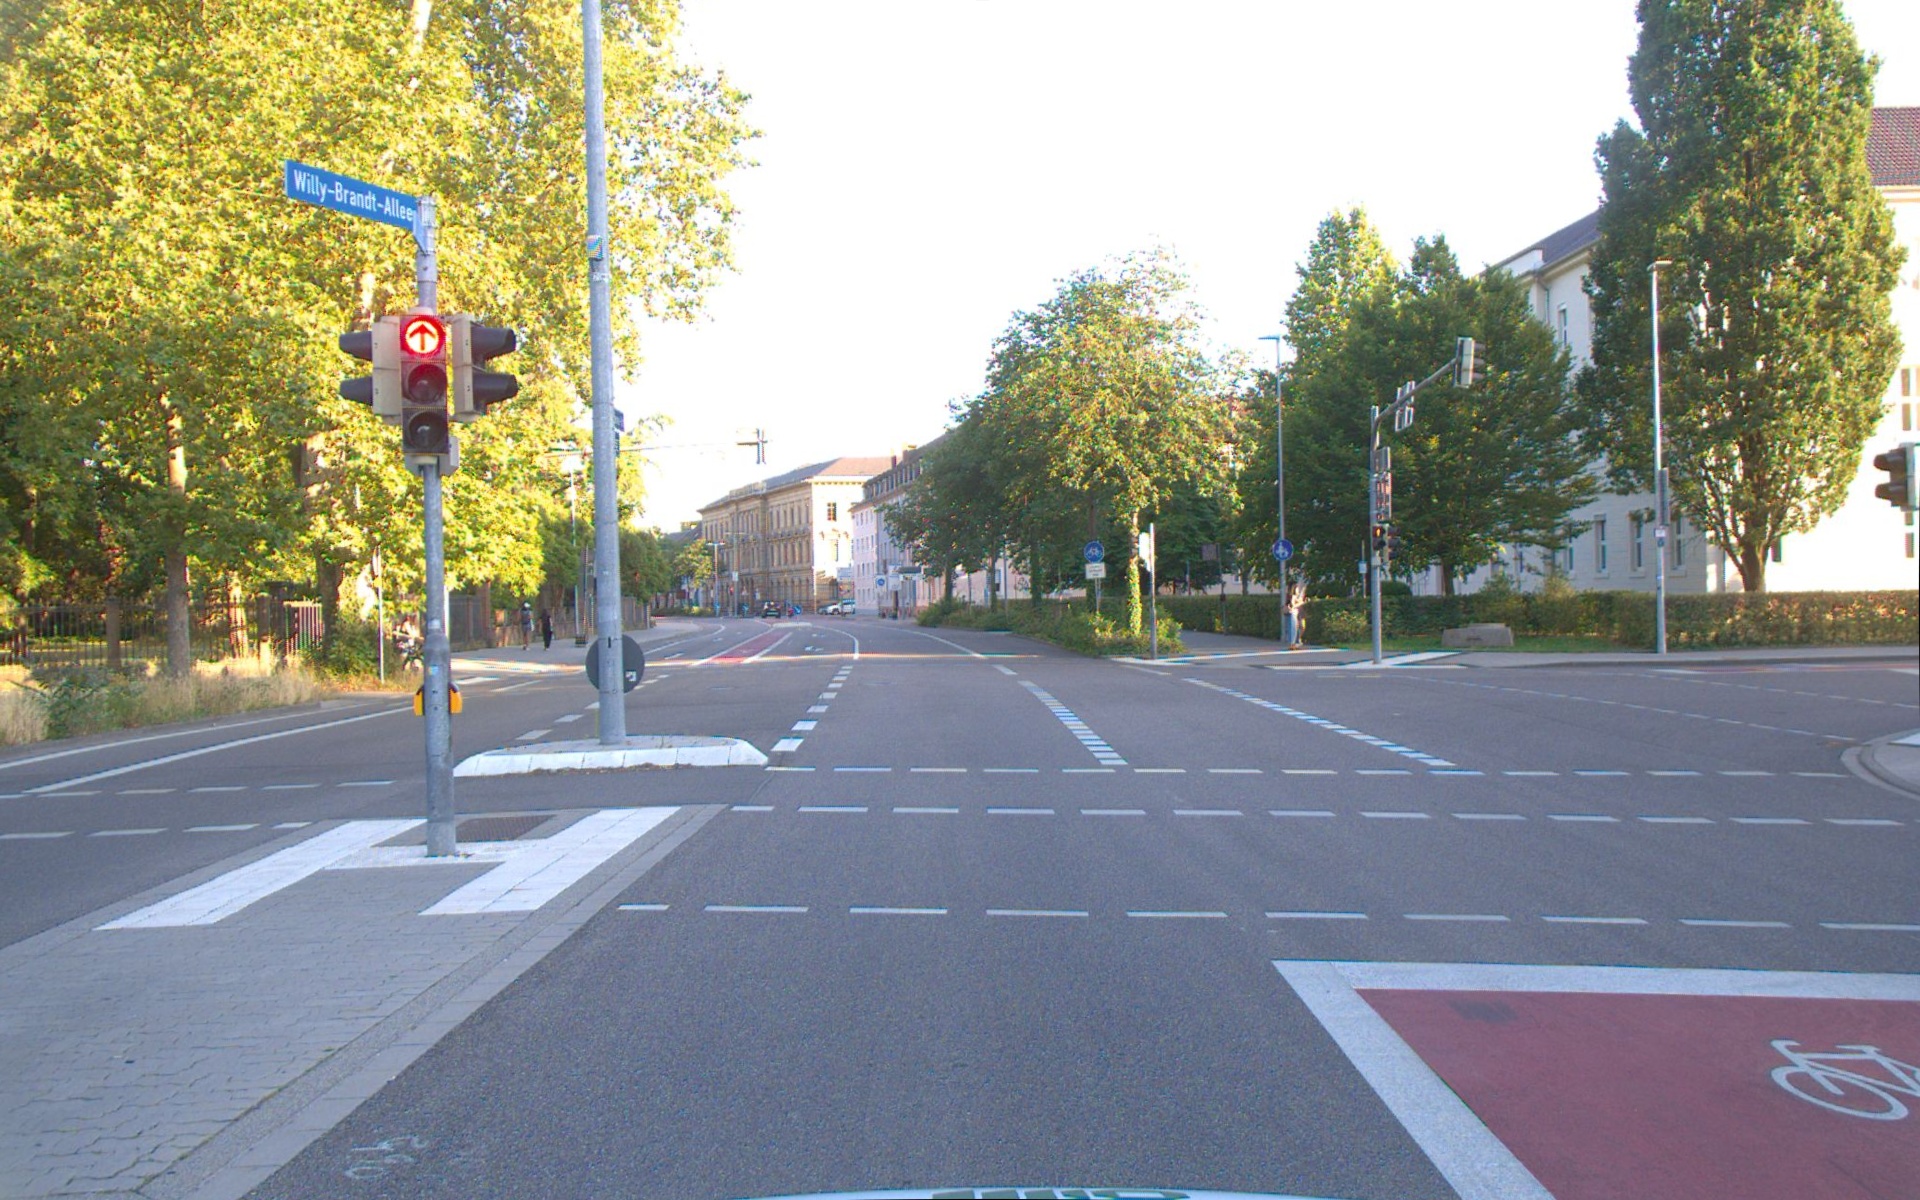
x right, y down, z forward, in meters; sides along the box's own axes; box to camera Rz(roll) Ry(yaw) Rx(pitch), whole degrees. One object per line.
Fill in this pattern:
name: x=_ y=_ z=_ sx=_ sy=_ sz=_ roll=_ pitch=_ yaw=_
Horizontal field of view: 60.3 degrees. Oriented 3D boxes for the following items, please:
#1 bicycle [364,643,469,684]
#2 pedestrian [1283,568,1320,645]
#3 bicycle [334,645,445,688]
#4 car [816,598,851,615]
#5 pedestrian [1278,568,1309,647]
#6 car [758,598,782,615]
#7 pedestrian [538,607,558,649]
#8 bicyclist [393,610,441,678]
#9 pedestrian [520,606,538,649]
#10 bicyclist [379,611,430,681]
bicycle: x=-13.782 y=1.606 z=41.946 sx=2.380 sy=0.940 sz=0.775 roll=-1 pitch=0 yaw=0
pedestrian: x=9.255 y=0.173 z=44.828 sx=0.852 sy=2.049 sz=0.722 roll=0 pitch=0 yaw=-1
bicycle: x=-13.801 y=1.610 z=40.044 sx=2.380 sy=0.940 sz=0.775 roll=-1 pitch=0 yaw=0
car: x=-15.031 y=0.755 z=197.319 sx=3.903 sy=2.049 sz=2.001 roll=0 pitch=0 yaw=4
pedestrian: x=8.748 y=0.200 z=43.442 sx=0.622 sy=2.049 sz=0.720 roll=0 pitch=0 yaw=-5
car: x=-19.458 y=0.651 z=169.419 sx=1.789 sy=1.616 sz=3.984 roll=-2 pitch=0 yaw=-15
pedestrian: x=-15.701 y=1.061 z=63.050 sx=0.587 sy=1.601 sz=0.646 roll=-1 pitch=0 yaw=-1
bicyclist: x=-13.757 y=1.106 z=41.937 sx=0.938 sy=1.659 sz=0.752 roll=-1 pitch=0 yaw=0
pedestrian: x=-16.442 y=1.057 z=63.076 sx=0.524 sy=1.624 sz=0.590 roll=-1 pitch=0 yaw=-1
bicyclist: x=-13.450 y=1.104 z=40.063 sx=0.938 sy=1.659 sz=0.752 roll=-1 pitch=0 yaw=0
